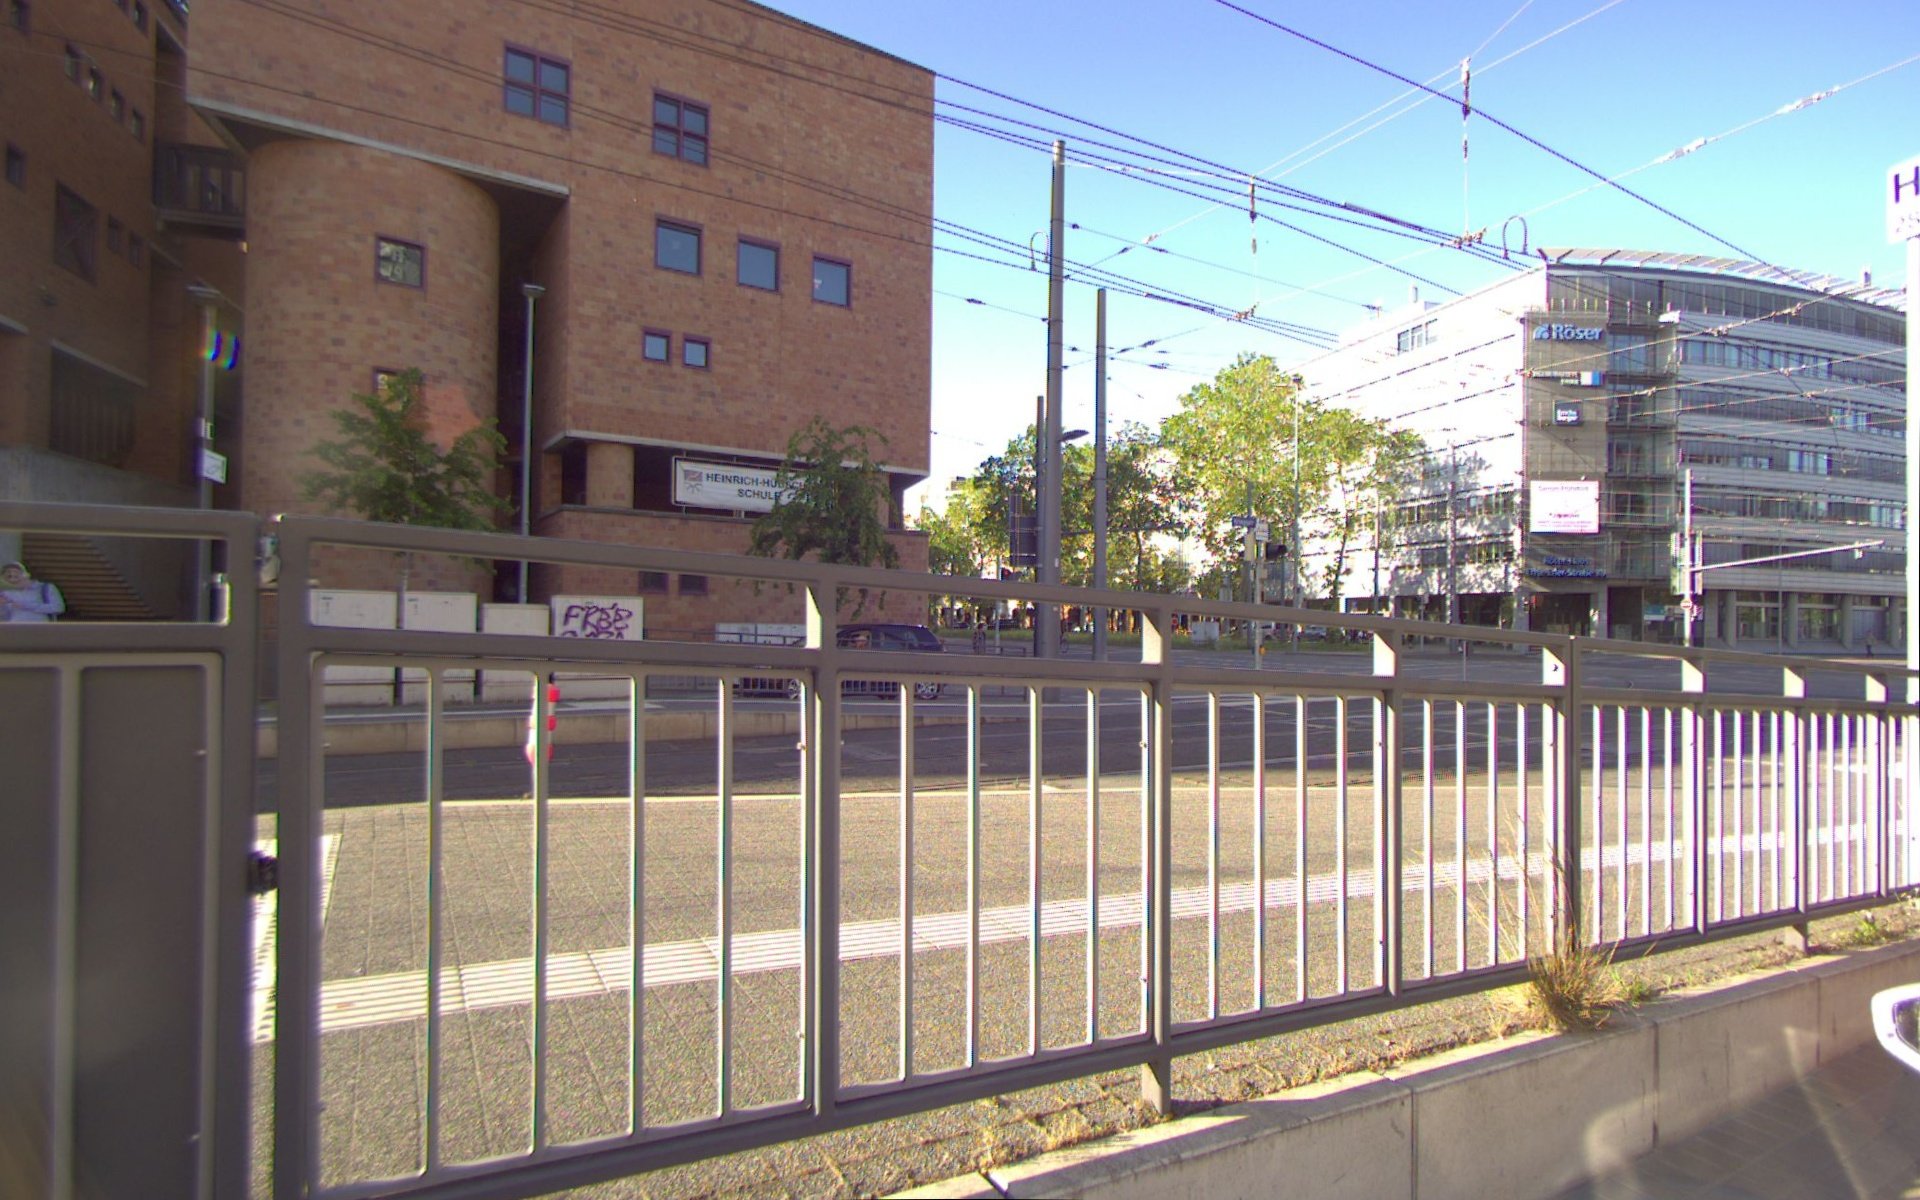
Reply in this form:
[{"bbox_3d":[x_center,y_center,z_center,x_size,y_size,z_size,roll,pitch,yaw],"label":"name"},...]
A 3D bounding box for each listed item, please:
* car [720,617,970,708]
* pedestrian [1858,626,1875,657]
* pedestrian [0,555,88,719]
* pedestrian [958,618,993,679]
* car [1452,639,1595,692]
[{"bbox_3d":[-2.056,1.114,18.487,4.198,1.449,1.813,2,0,-34],"label":"car"},{"bbox_3d":[62.327,2.861,69.071,0.745,2.040,0.627,2,0,-30],"label":"pedestrian"},{"bbox_3d":[-9.687,0.374,10.540,0.679,1.656,0.662,2,0,-34],"label":"pedestrian"},{"bbox_3d":[0.439,1.385,28.899,0.785,1.714,0.587,2,0,-29],"label":"pedestrian"},{"bbox_3d":[13.658,1.557,24.401,2.841,1.077,1.238,2,0,40],"label":"car"}]
